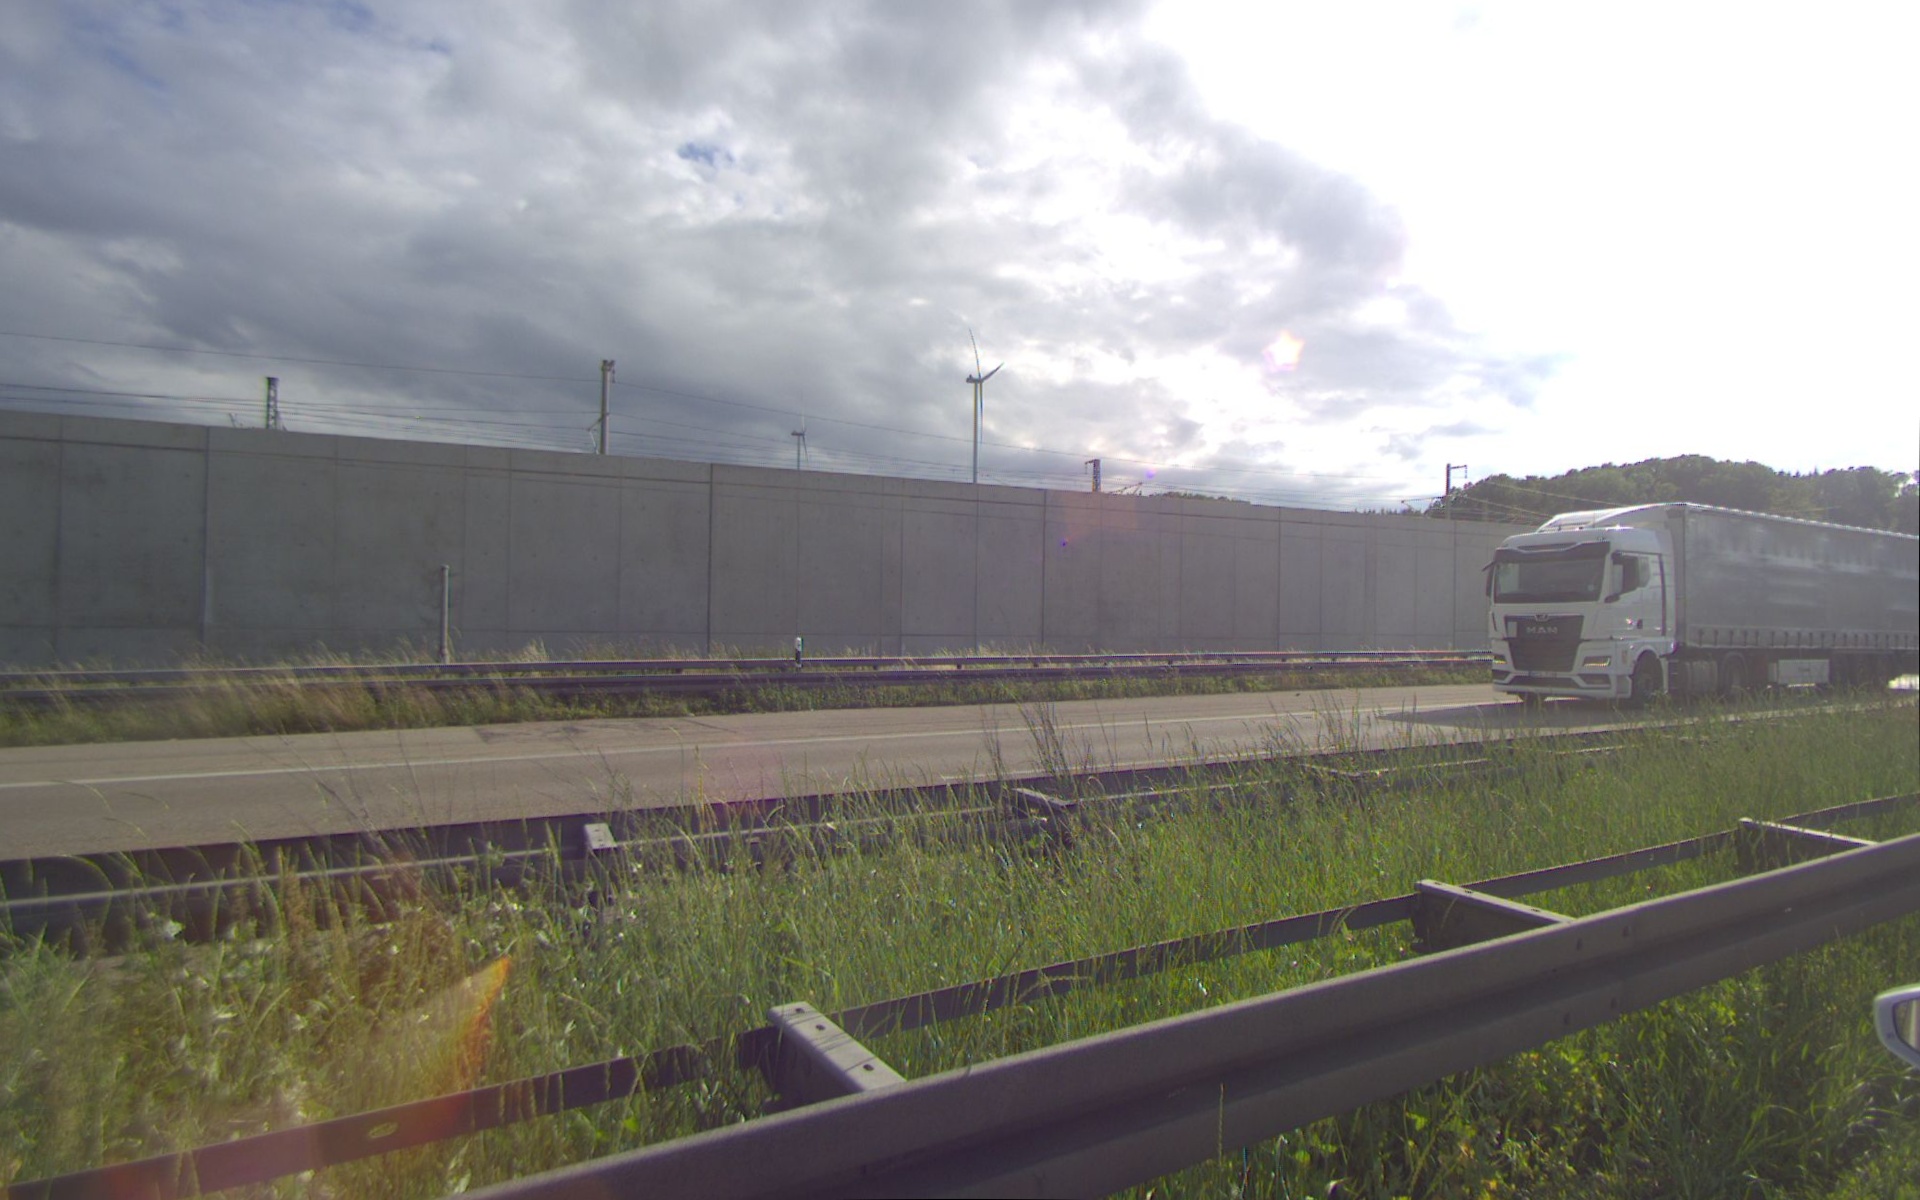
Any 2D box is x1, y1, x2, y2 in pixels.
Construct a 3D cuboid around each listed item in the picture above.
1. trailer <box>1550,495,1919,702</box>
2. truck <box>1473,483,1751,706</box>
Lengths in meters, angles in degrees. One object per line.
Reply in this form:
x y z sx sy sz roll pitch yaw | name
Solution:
19.650 0.178 24.727 13.365 4.130 2.776 2 -2 -31 | trailer
13.779 0.006 21.202 5.467 4.141 2.763 1 -3 -31 | truck
